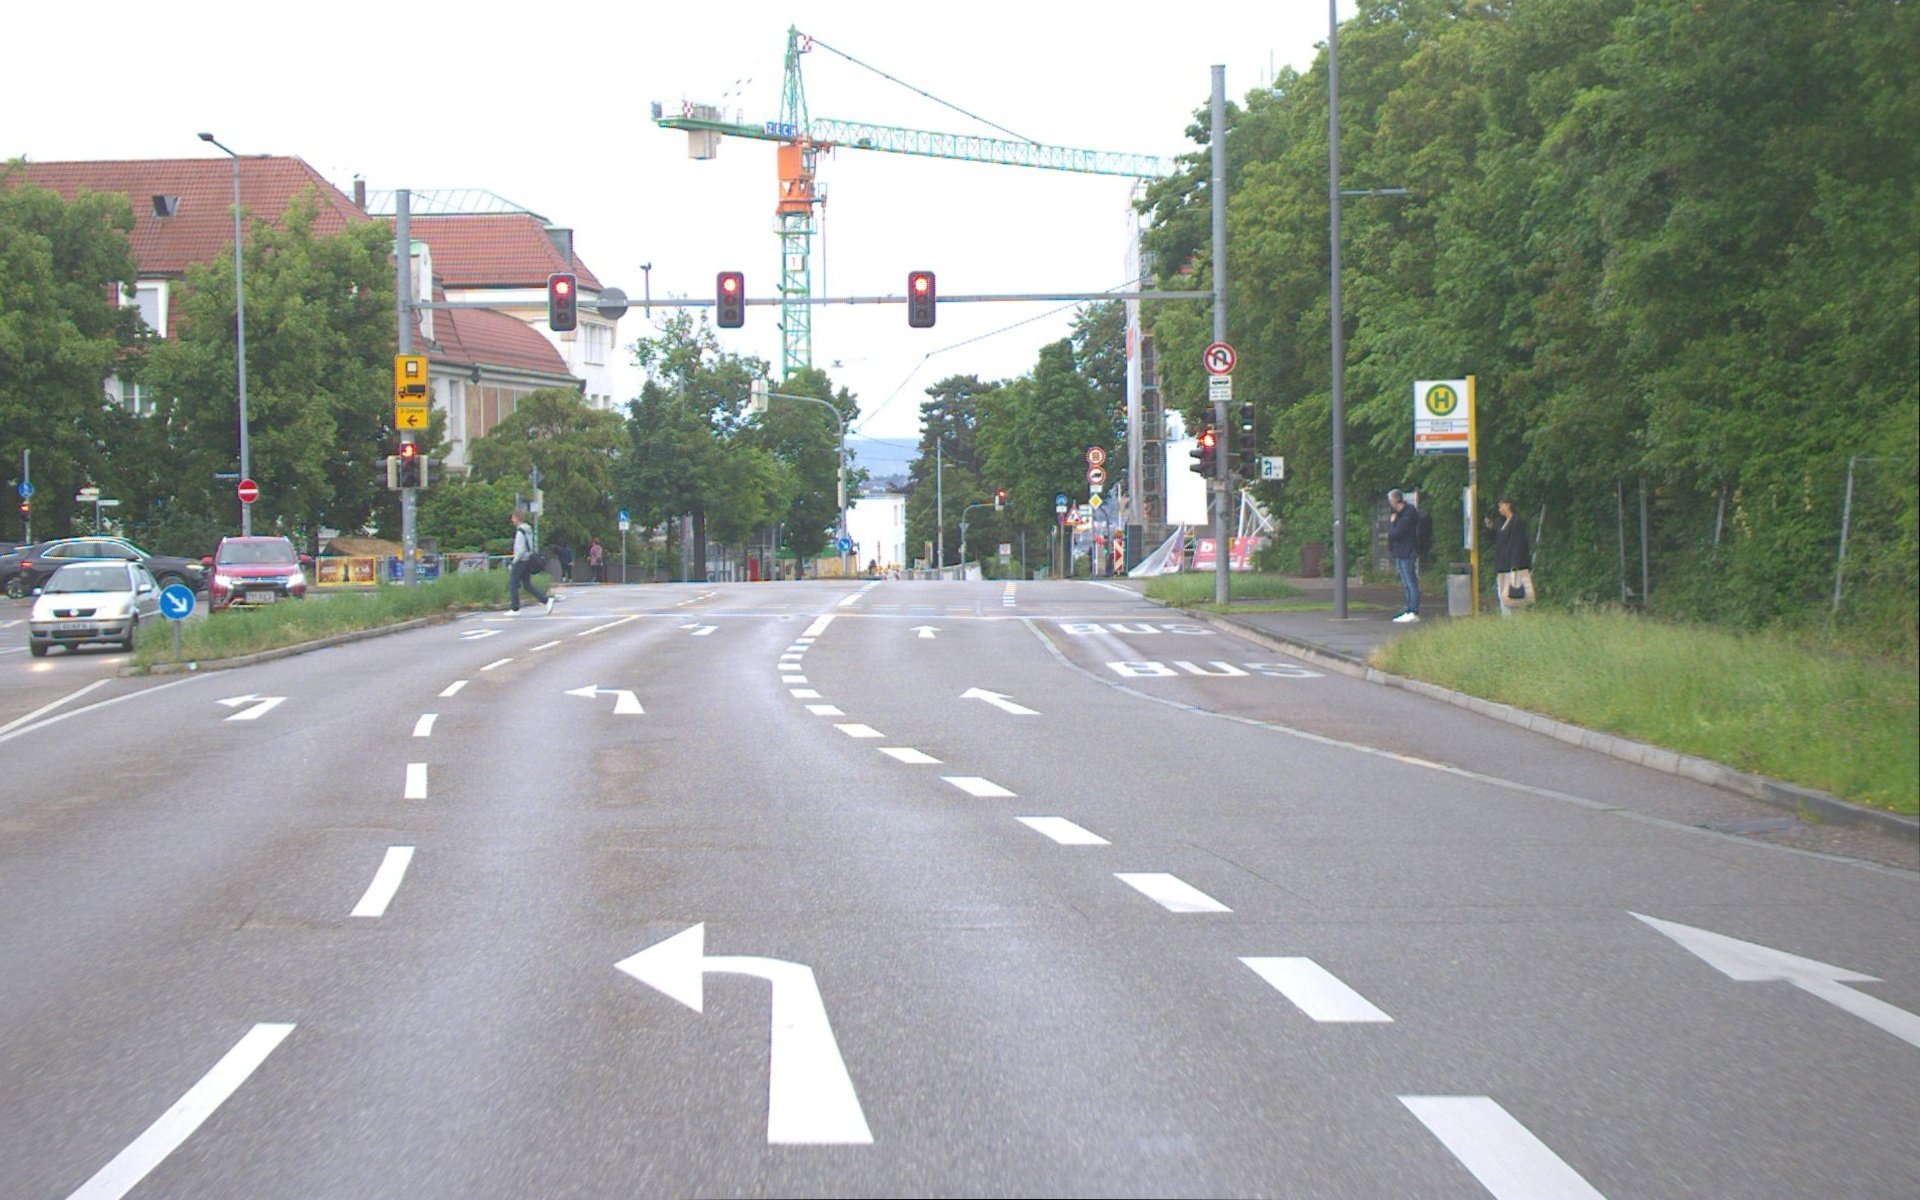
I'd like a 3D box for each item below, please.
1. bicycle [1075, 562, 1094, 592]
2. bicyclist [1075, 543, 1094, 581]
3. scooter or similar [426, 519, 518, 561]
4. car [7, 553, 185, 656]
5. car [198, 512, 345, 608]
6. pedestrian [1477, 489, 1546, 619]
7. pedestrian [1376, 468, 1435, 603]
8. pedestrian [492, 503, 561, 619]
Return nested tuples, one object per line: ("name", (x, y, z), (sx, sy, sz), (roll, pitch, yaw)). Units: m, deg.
("bicycle", (5.102, -0.942, 141.181), (0.720, 1.189, 1.756), (1, 0, 1))
("bicyclist", (5.112, -1.561, 141.155), (0.720, 1.558, 1.143), (1, 0, 1))
("scooter or similar", (-17.230, -2.124, 121.475), (3.087, 1.435, 0.949), (-1, 1, -2))
("car", (-13.414, 0.040, 53.606), (1.762, 1.411, 3.879), (-3, 1, -1))
("car", (-13.246, -0.803, 66.437), (1.853, 1.677, 4.738), (-3, 1, -1))
("pedestrian", (7.113, -0.595, 44.351), (0.675, 1.652, 0.793), (-1, 1, -6))
("pedestrian", (6.346, -0.921, 48.999), (0.640, 1.894, 0.718), (-1, 1, -6))
("pedestrian", (-7.758, -0.702, 61.504), (0.940, 2.007, 0.847), (-4, 1, 5))
